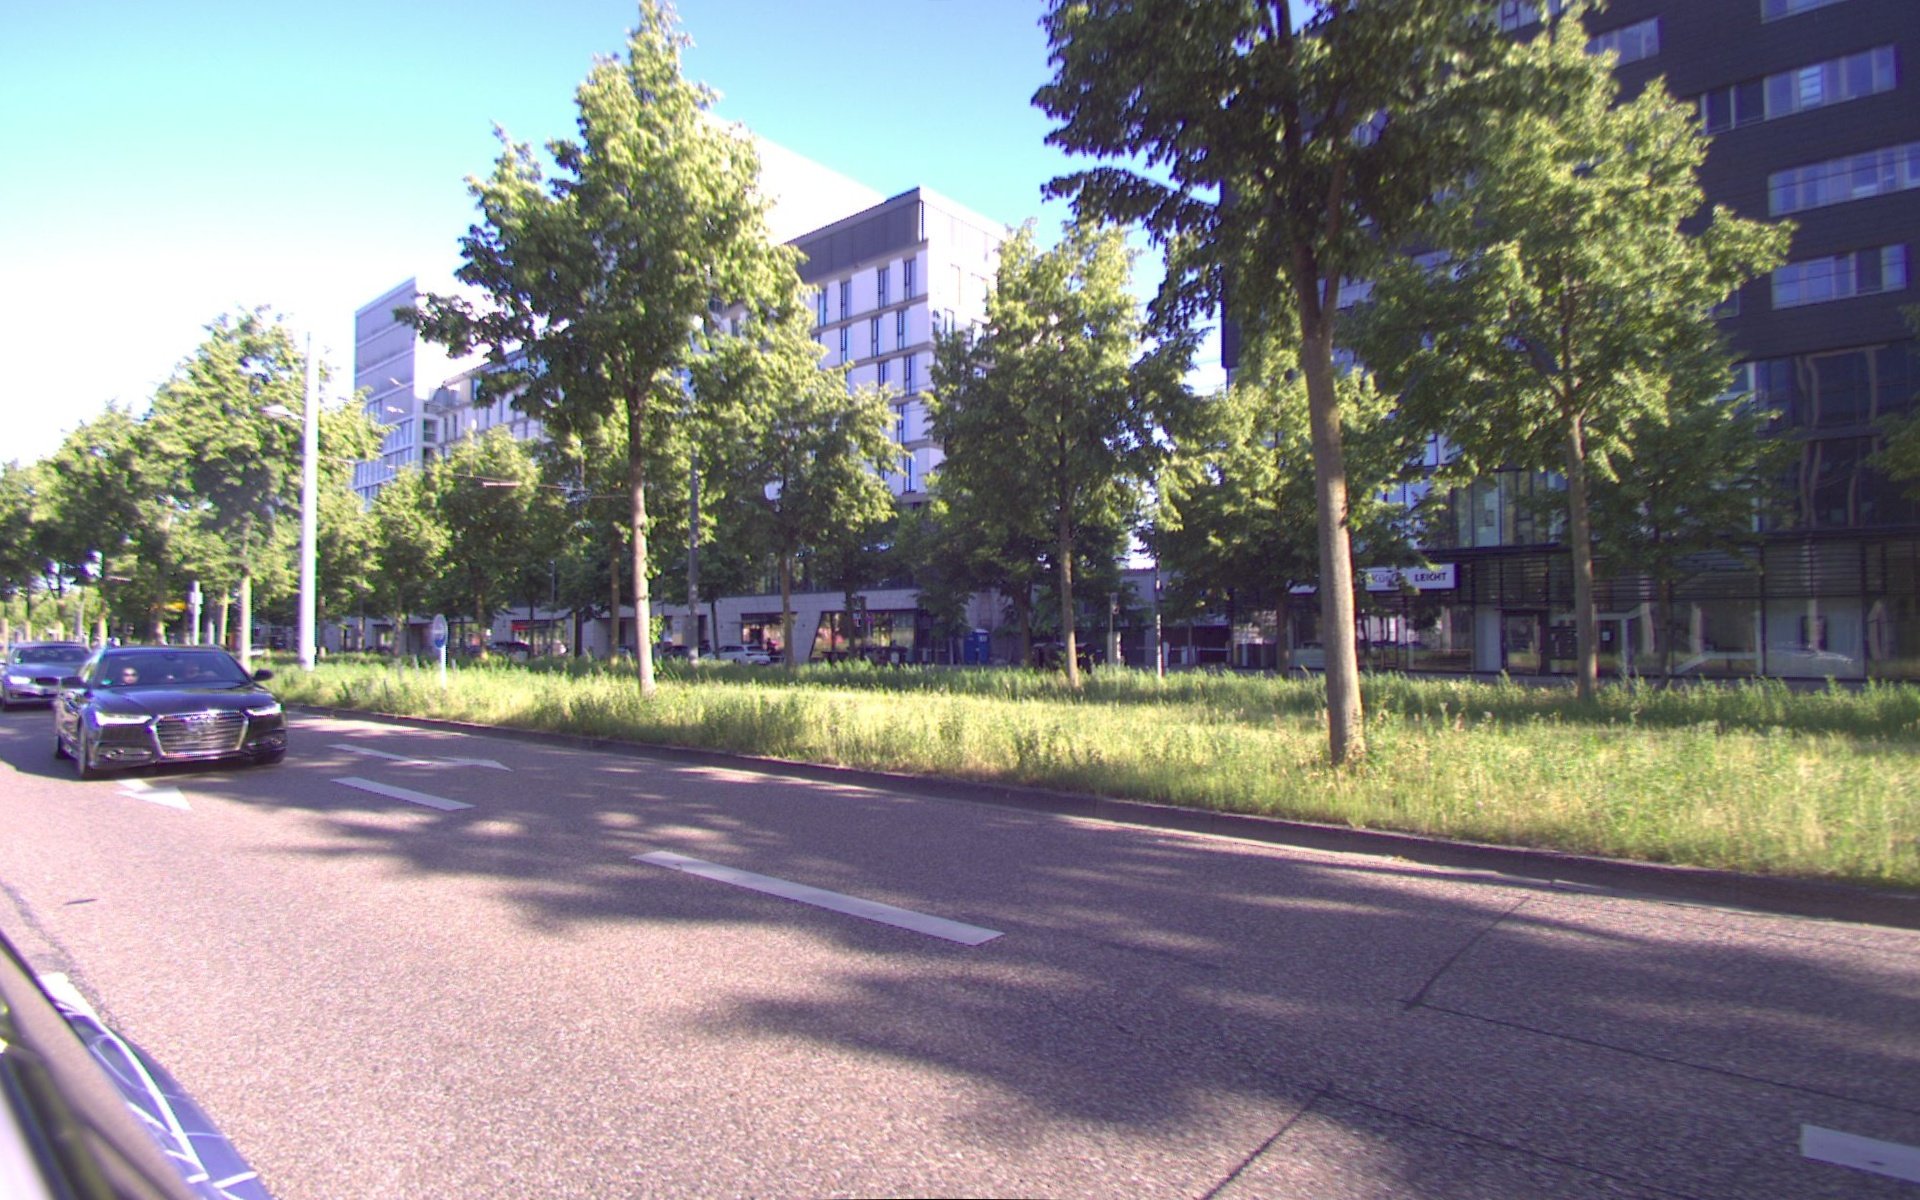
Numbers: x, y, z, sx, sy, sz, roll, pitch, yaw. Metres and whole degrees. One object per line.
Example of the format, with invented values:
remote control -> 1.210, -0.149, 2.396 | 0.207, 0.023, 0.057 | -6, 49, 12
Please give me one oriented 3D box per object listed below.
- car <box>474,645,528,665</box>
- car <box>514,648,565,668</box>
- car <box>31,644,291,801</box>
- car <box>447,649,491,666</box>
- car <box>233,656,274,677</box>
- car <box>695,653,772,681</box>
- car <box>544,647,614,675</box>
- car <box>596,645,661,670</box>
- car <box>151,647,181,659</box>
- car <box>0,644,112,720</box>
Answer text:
car -> -33.106, 3.955, 72.966 | 4.801, 1.431, 1.651 | -3, -4, 41
car -> -28.574, 3.919, 68.749 | 3.751, 1.364, 1.715 | -2, -3, 41
car -> -9.827, 1.329, 12.304 | 4.601, 1.538, 1.765 | -3, -3, 43
car -> -37.085, 4.347, 76.389 | 3.580, 1.217, 1.651 | -2, -4, 40
car -> -58.316, 5.496, 83.554 | 4.317, 1.702, 1.779 | -4, -3, 41
car -> -12.240, 3.570, 54.564 | 4.542, 1.431, 1.697 | -3, -4, 41
car -> -20.848, 3.293, 55.308 | 4.544, 1.431, 1.696 | -2, -3, 43
car -> -20.206, 3.477, 61.579 | 4.542, 1.431, 1.697 | -3, -3, 41
car -> -89.565, 6.001, 114.180 | 4.307, 1.302, 1.779 | -4, -6, 40
car -> -21.060, 1.813, 23.123 | 4.525, 1.581, 1.825 | -3, -4, 40
